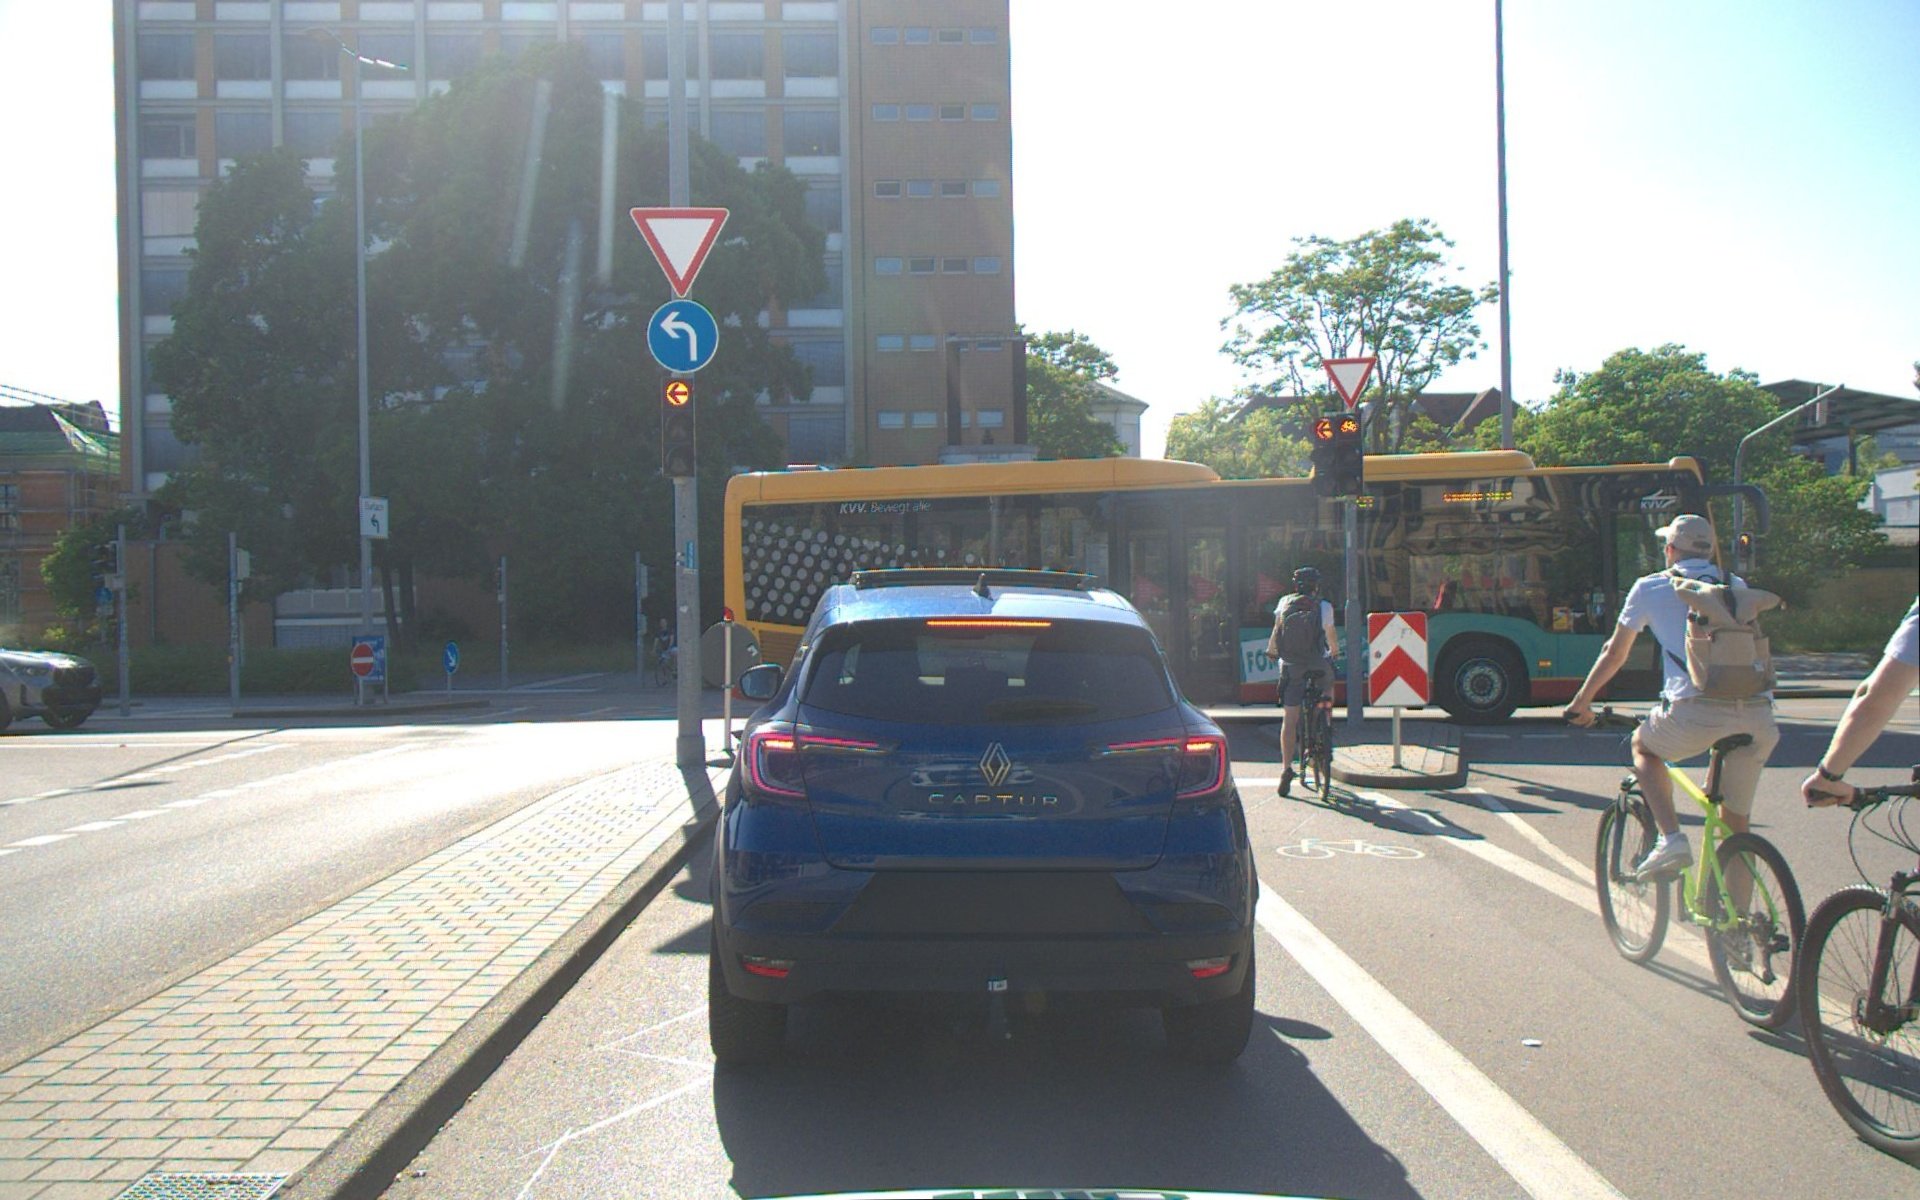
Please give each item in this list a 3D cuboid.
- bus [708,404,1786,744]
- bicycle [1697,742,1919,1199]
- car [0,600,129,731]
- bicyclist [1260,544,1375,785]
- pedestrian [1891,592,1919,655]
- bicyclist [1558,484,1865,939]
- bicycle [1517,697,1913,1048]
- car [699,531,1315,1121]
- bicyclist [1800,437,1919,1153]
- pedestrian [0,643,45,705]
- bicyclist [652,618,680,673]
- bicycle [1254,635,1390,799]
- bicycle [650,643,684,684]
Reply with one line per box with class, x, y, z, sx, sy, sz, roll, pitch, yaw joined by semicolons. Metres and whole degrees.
bus;3.214;-0.183;20.588;12.157;3.633;3.253;-1;0;13
bicycle;2.631;0.971;4.047;0.732;1.069;1.902;-1;0;-2
car;-15.507;0.986;25.327;4.626;1.893;2.006;-1;0;8
bicyclist;2.799;0.492;13.022;0.663;1.816;0.939;1;-1;-2
pedestrian;24.215;0.575;41.641;1.062;1.547;0.931;-1;0;9
bicyclist;2.876;0.399;6.438;0.660;1.610;1.081;1;0;-2
bicycle;2.861;0.974;6.504;0.657;1.069;1.843;1;0;-2
car;0.086;0.643;6.681;1.758;1.684;3.852;1;0;-2
bicyclist;2.635;0.461;3.994;0.725;1.703;0.865;-1;0;-3
pedestrian;-31.679;2.494;55.900;0.807;2.049;1.014;-1;0;23
bicyclist;-7.756;1.200;43.668;0.637;1.437;0.635;-1;-3;-17
bicycle;2.808;0.871;12.997;0.602;1.158;1.825;0;0;-2
bicycle;-7.758;1.691;43.710;0.687;1.025;1.860;-1;-3;-16
